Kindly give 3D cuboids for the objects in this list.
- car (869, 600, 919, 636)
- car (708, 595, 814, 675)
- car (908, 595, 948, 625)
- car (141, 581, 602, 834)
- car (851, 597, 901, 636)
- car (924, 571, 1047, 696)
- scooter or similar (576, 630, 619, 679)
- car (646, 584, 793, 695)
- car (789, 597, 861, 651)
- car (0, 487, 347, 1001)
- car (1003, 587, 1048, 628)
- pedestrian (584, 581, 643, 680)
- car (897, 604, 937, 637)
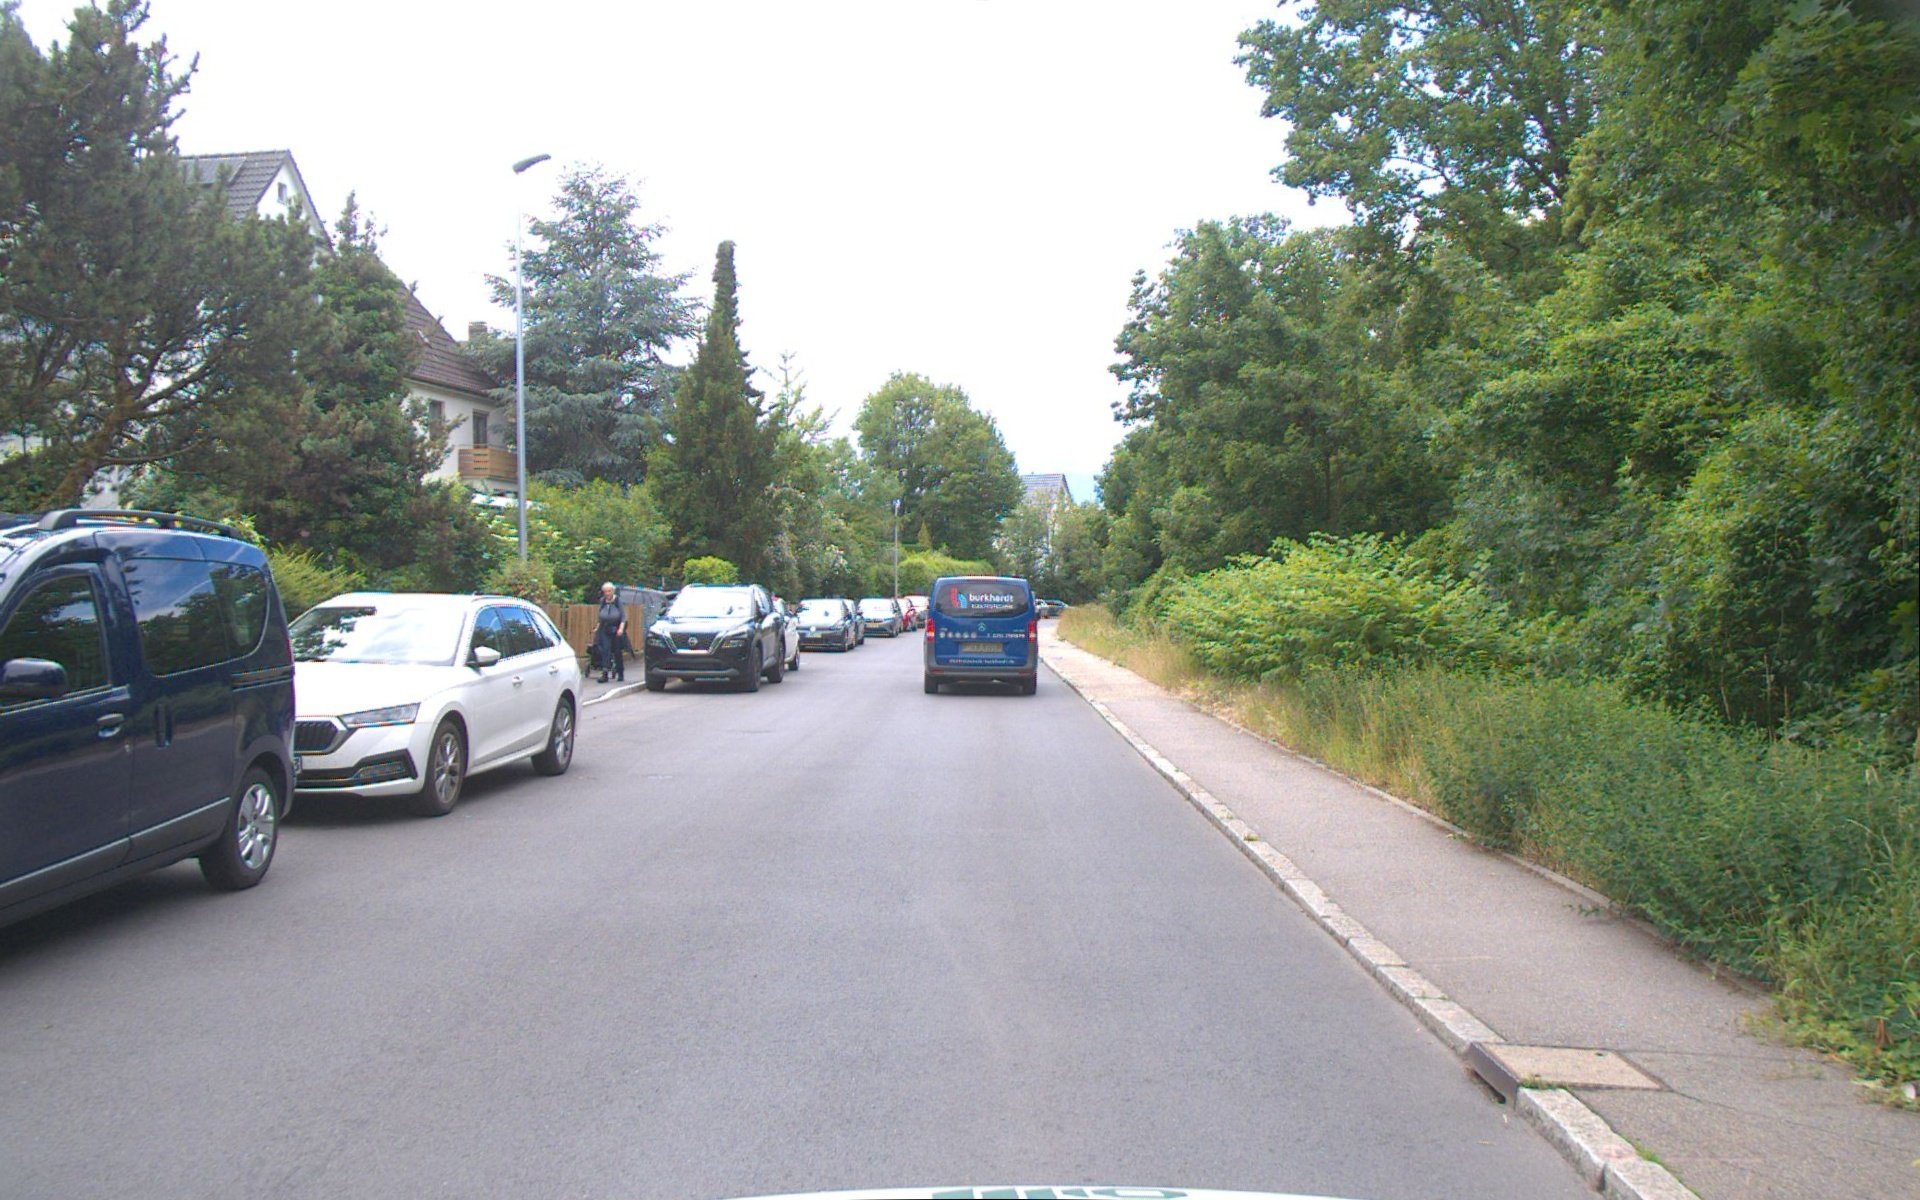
[{"bbox_3d":[-2.934,0.772,74.583,1.671,1.541,4.366,1,0,5],"label":"car"},{"bbox_3d":[-4.046,0.677,34.153,1.672,1.538,3.946,1,0,0],"label":"car"},{"bbox_3d":[-1.648,0.520,86.977,1.554,1.541,3.593,1,0,7],"label":"car"},{"bbox_3d":[-4.141,0.662,12.513,1.671,1.538,4.556,1,0,2],"label":"car"},{"bbox_3d":[-3.218,0.633,64.085,1.672,1.435,4.161,1,0,0],"label":"car"},{"bbox_3d":[0.373,0.522,27.957,1.897,1.913,4.530,1,0,-1],"label":"car"},{"bbox_3d":[-6.078,0.914,27.747,0.559,0.792,0.711,1,0,-1],"label":"scooter or similar"},{"bbox_3d":[-3.960,0.609,27.929,1.755,1.693,4.392,1,0,1],"label":"car"},{"bbox_3d":[-3.791,0.648,47.033,1.672,1.441,4.149,1,0,0],"label":"car"},{"bbox_3d":[-4.227,0.502,6.838,1.671,1.831,4.298,1,0,1],"label":"car"},{"bbox_3d":[3.488,0.406,87.268,2.159,2.100,6.138,0,0,4],"label":"car"},{"bbox_3d":[-5.688,0.496,27.184,0.753,1.602,0.821,1,0,1],"label":"pedestrian"},{"bbox_3d":[-2.117,0.997,82.378,1.511,1.541,3.646,1,0,5],"label":"car"}]
